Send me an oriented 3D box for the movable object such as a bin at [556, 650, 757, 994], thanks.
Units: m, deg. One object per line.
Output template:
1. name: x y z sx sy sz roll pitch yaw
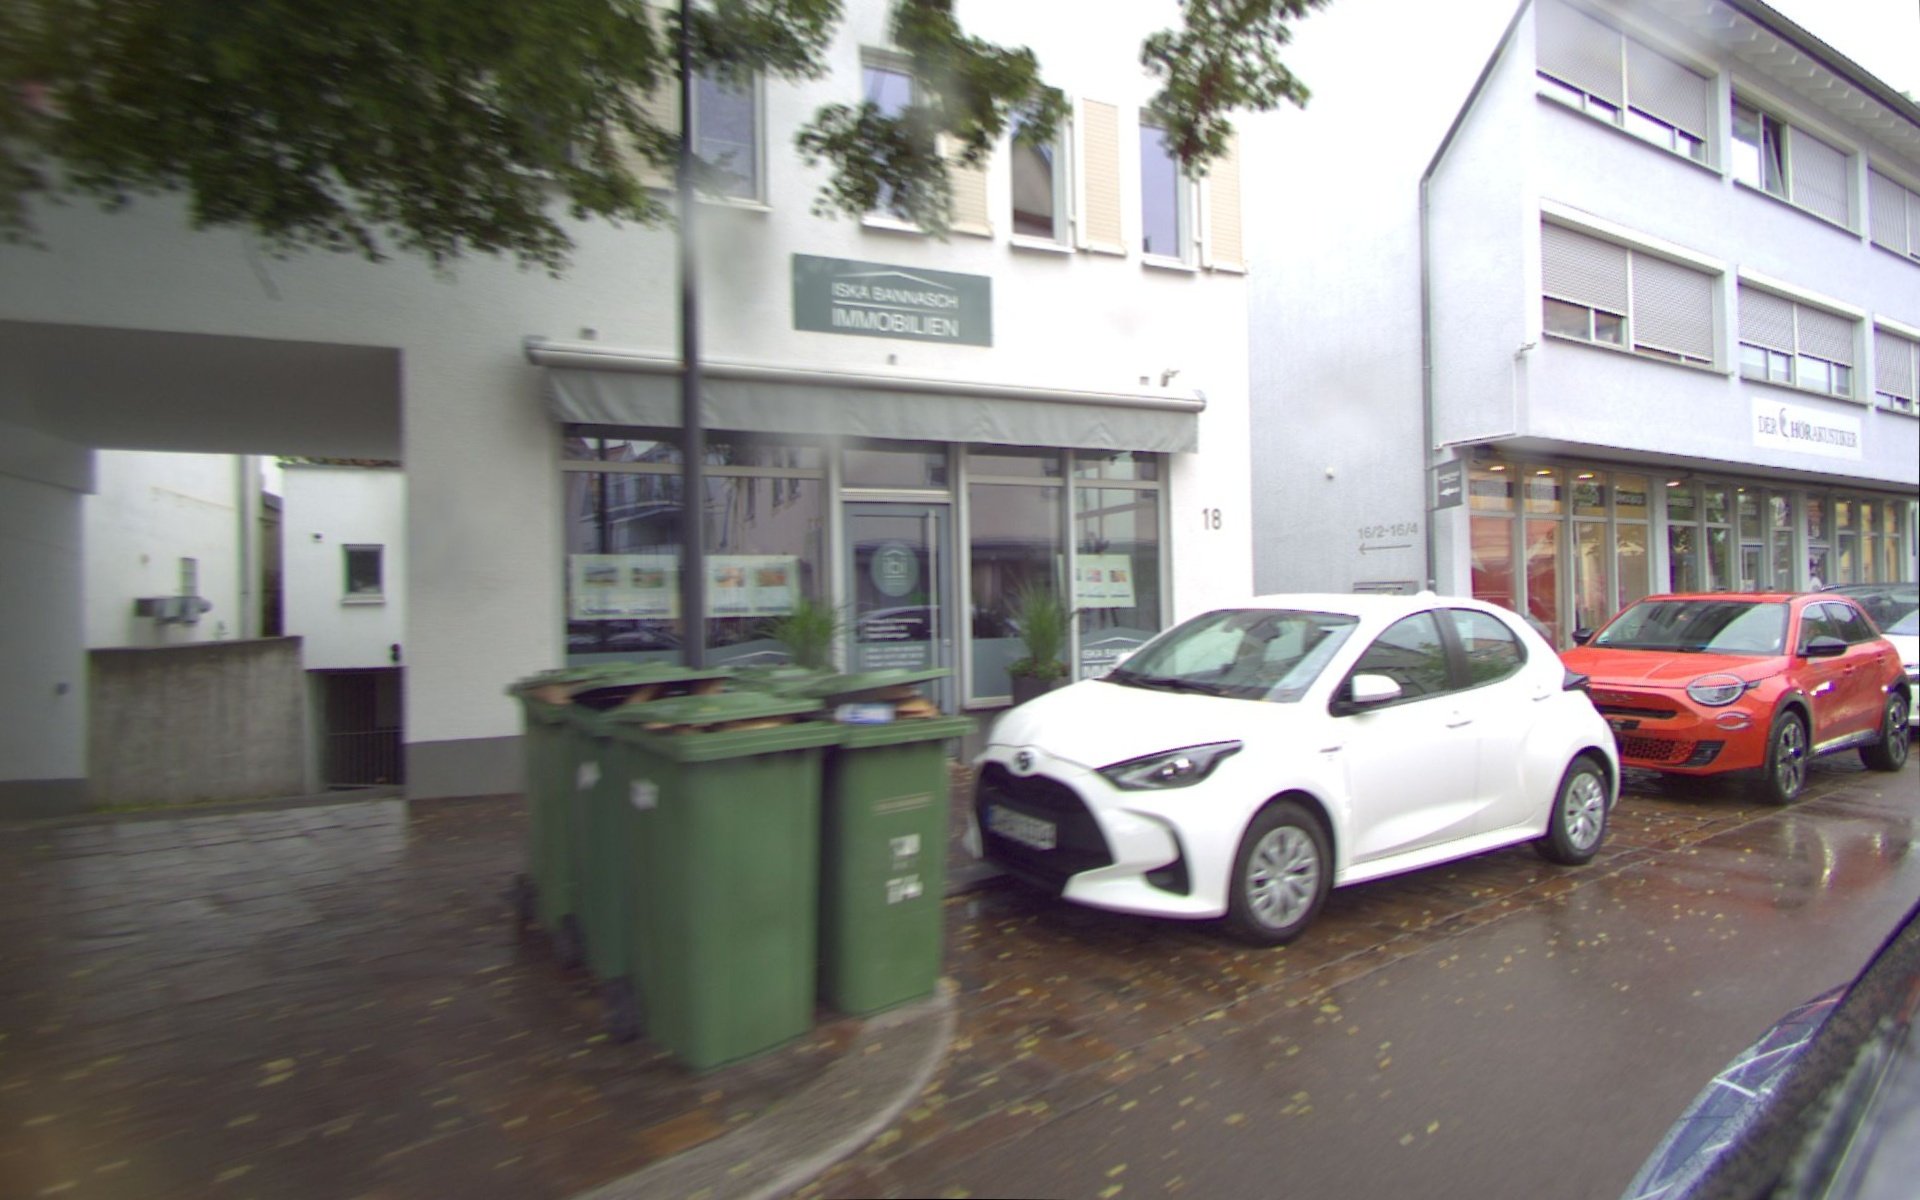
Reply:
1. movable object such as a bin: -1.191 0.802 3.969 0.575 1.164 0.545 -1 0 -41

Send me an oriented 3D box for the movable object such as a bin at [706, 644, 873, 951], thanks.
1. movable object such as a bin: -0.735 0.792 4.338 0.492 1.164 0.531 -1 0 -41

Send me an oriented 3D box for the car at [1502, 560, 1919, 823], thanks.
1. car: 6.393 0.562 8.377 3.881 1.711 1.696 -1 0 -33

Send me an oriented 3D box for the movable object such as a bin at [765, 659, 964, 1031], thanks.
1. movable object such as a bin: -0.350 0.823 3.675 0.492 1.164 0.534 -1 0 -41

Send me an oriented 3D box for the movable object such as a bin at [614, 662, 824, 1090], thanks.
1. movable object such as a bin: -0.778 0.816 3.255 0.480 1.183 0.477 -1 0 -41

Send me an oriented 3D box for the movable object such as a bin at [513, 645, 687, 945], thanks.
1. movable object such as a bin: -1.587 0.804 4.464 0.570 1.164 0.504 -1 0 -41

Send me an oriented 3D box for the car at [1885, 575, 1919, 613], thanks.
1. car: 40.430 -0.262 41.207 1.685 1.594 4.003 -1 0 -4

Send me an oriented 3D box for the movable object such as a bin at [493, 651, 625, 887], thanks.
1. movable object such as a bin: -2.007 0.807 5.061 0.492 1.060 0.431 -1 0 -41

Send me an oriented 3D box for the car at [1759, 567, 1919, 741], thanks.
1. car: 10.927 0.496 11.585 4.198 1.711 1.695 -1 0 -36

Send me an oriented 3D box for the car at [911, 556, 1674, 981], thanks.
1. car: 2.019 0.639 5.610 4.317 1.559 1.696 1 -1 -33
